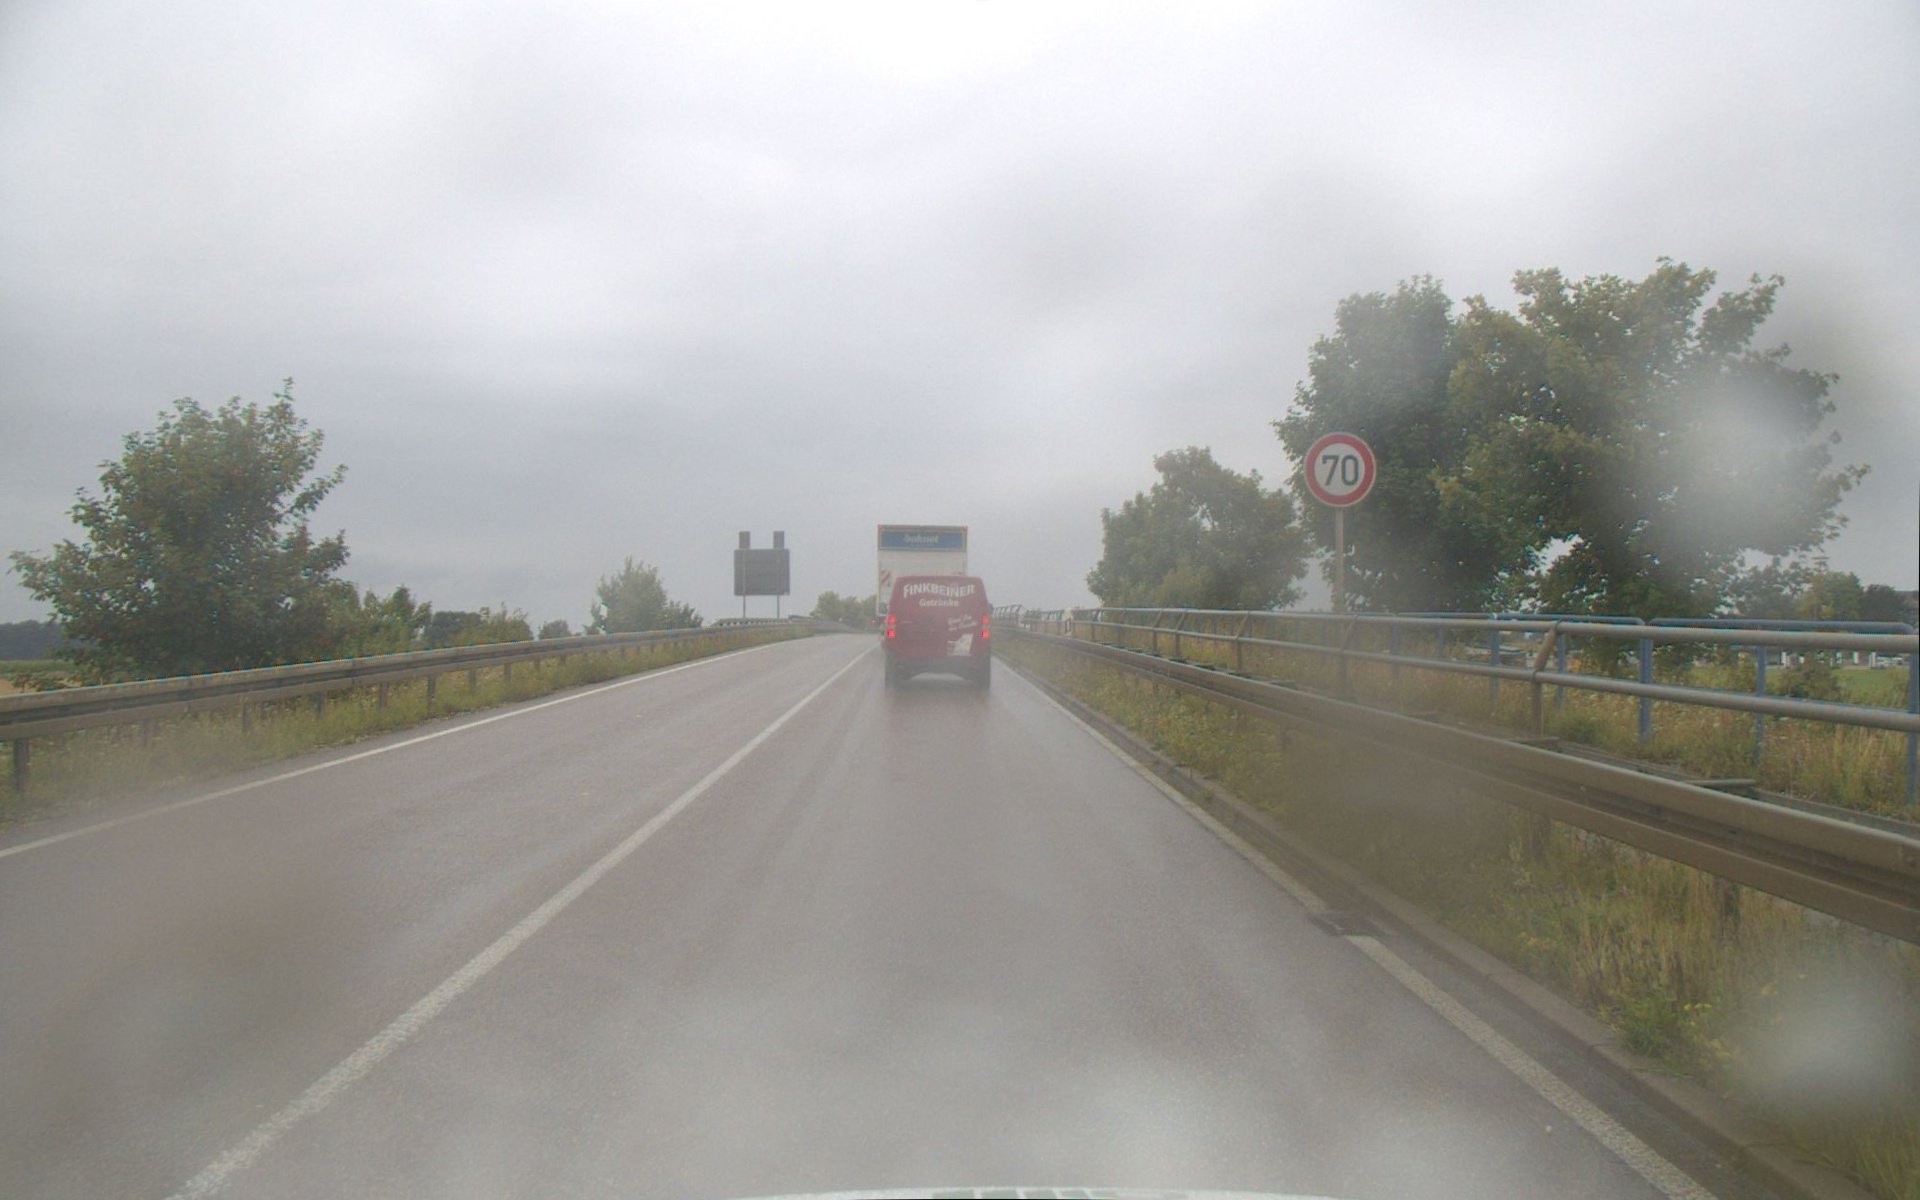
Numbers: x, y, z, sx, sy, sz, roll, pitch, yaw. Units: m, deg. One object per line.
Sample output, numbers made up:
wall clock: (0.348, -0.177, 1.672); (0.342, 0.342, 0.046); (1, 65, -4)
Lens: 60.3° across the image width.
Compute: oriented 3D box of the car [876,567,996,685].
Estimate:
car: (-0.390, 0.444, 29.829); (1.953, 1.903, 4.978); (-1, 0, 0)

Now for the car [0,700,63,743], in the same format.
car: (-70.399, 8.902, 121.148); (7.686, 3.021, 3.005); (0, -2, -13)

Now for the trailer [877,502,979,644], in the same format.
trailer: (-0.844, -0.673, 50.373); (2.774, 3.886, 9.714); (-1, -1, 1)
